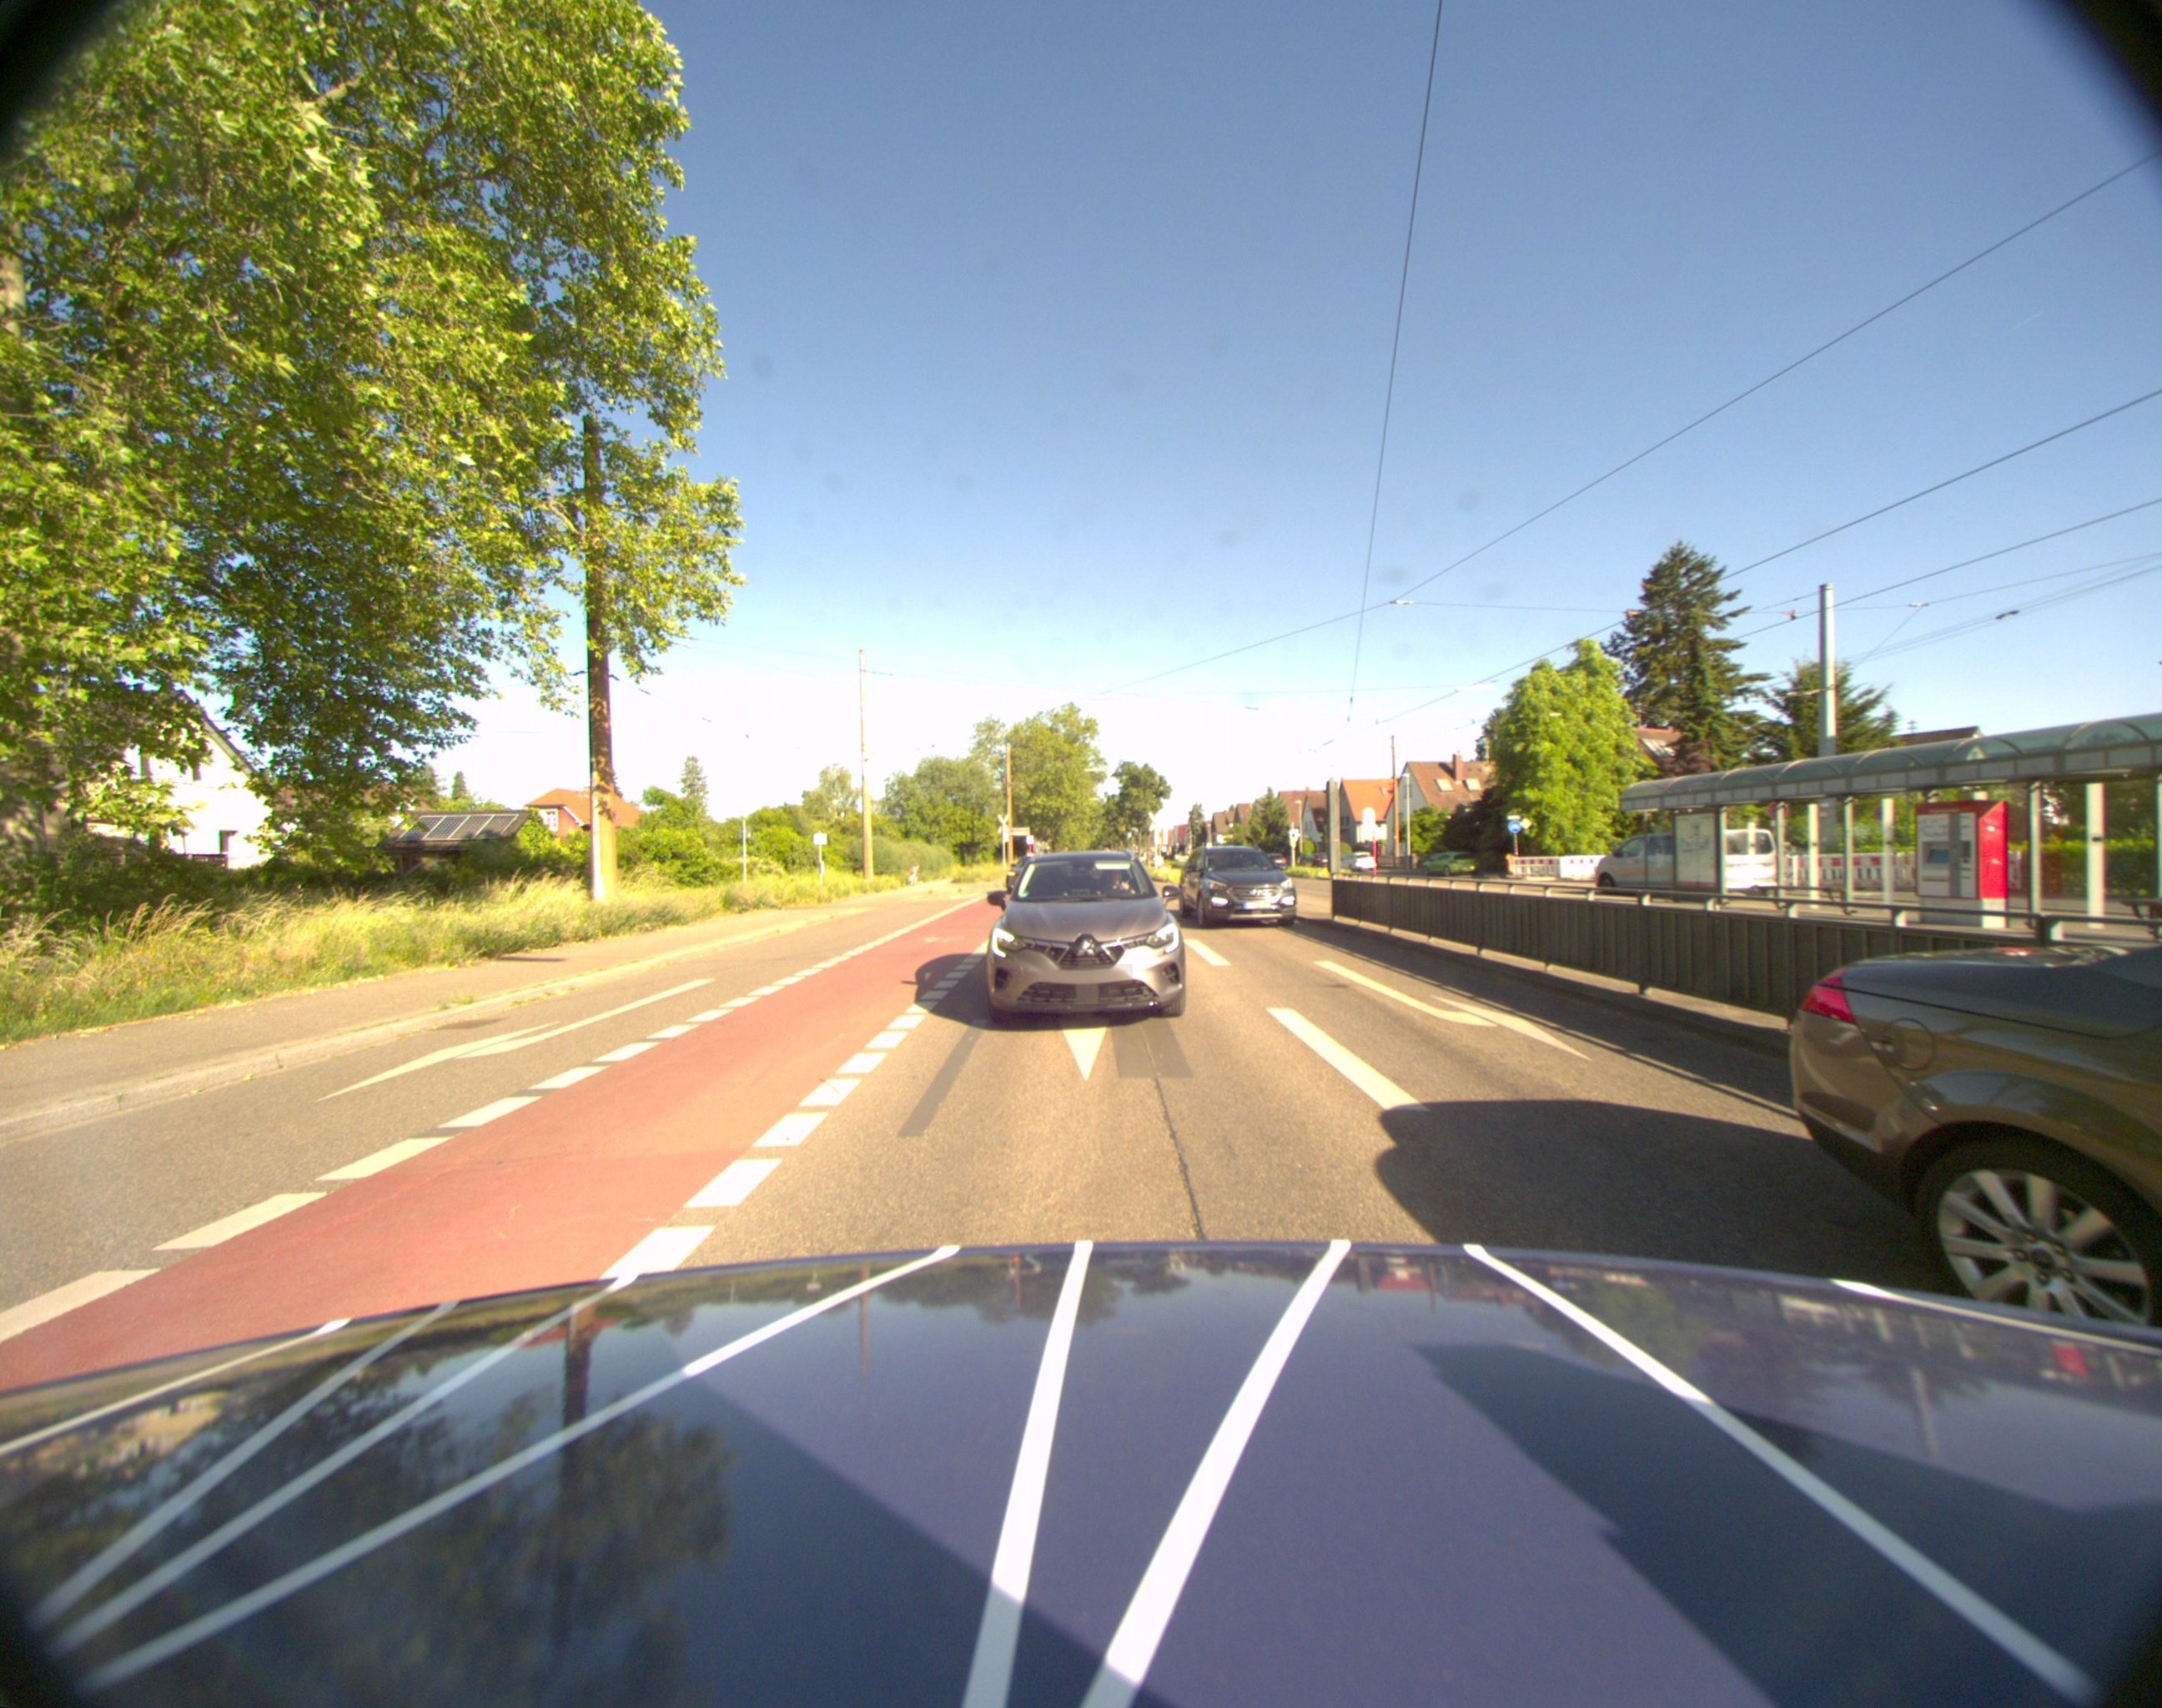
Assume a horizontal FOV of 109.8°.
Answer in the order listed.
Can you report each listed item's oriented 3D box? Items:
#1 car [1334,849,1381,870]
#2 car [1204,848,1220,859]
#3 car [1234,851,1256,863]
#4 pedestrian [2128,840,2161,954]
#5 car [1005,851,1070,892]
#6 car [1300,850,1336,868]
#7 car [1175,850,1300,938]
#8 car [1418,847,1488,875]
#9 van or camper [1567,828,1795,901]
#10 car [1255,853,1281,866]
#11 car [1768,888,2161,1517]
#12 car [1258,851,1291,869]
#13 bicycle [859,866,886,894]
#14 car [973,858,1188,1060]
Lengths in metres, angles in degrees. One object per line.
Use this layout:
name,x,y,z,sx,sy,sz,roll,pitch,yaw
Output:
car,21.710,0.378,59.764,1.888,1.464,4.613,-3,1,-1
car,22.055,-0.089,127.968,1.998,1.852,4.584,-2,0,1
car,22.048,0.347,102.366,1.888,1.464,4.838,-3,0,1
pedestrian,14.228,0.540,9.432,1.063,1.444,1.007,-1,1,0
car,-1.754,0.711,32.506,1.769,1.621,4.501,-1,0,10
car,21.611,0.414,69.389,1.912,1.457,4.440,-3,1,0
car,3.173,0.746,16.265,1.780,1.620,4.288,-1,0,0
car,21.875,0.384,44.833,1.999,1.492,4.067,-3,1,-2
van or camper,17.170,0.278,22.301,1.998,1.817,5.987,-1,0,1
car,21.831,0.647,88.814,1.998,1.363,4.310,-2,0,1
car,3.469,0.855,0.688,1.780,1.441,4.334,-1,0,0
car,16.907,0.501,66.600,1.740,1.511,4.344,-1,0,0
bicycle,-8.509,1.040,30.892,0.367,1.128,2.090,-1,0,-35
car,-0.019,0.845,7.825,1.673,1.529,3.586,-2,0,-1
